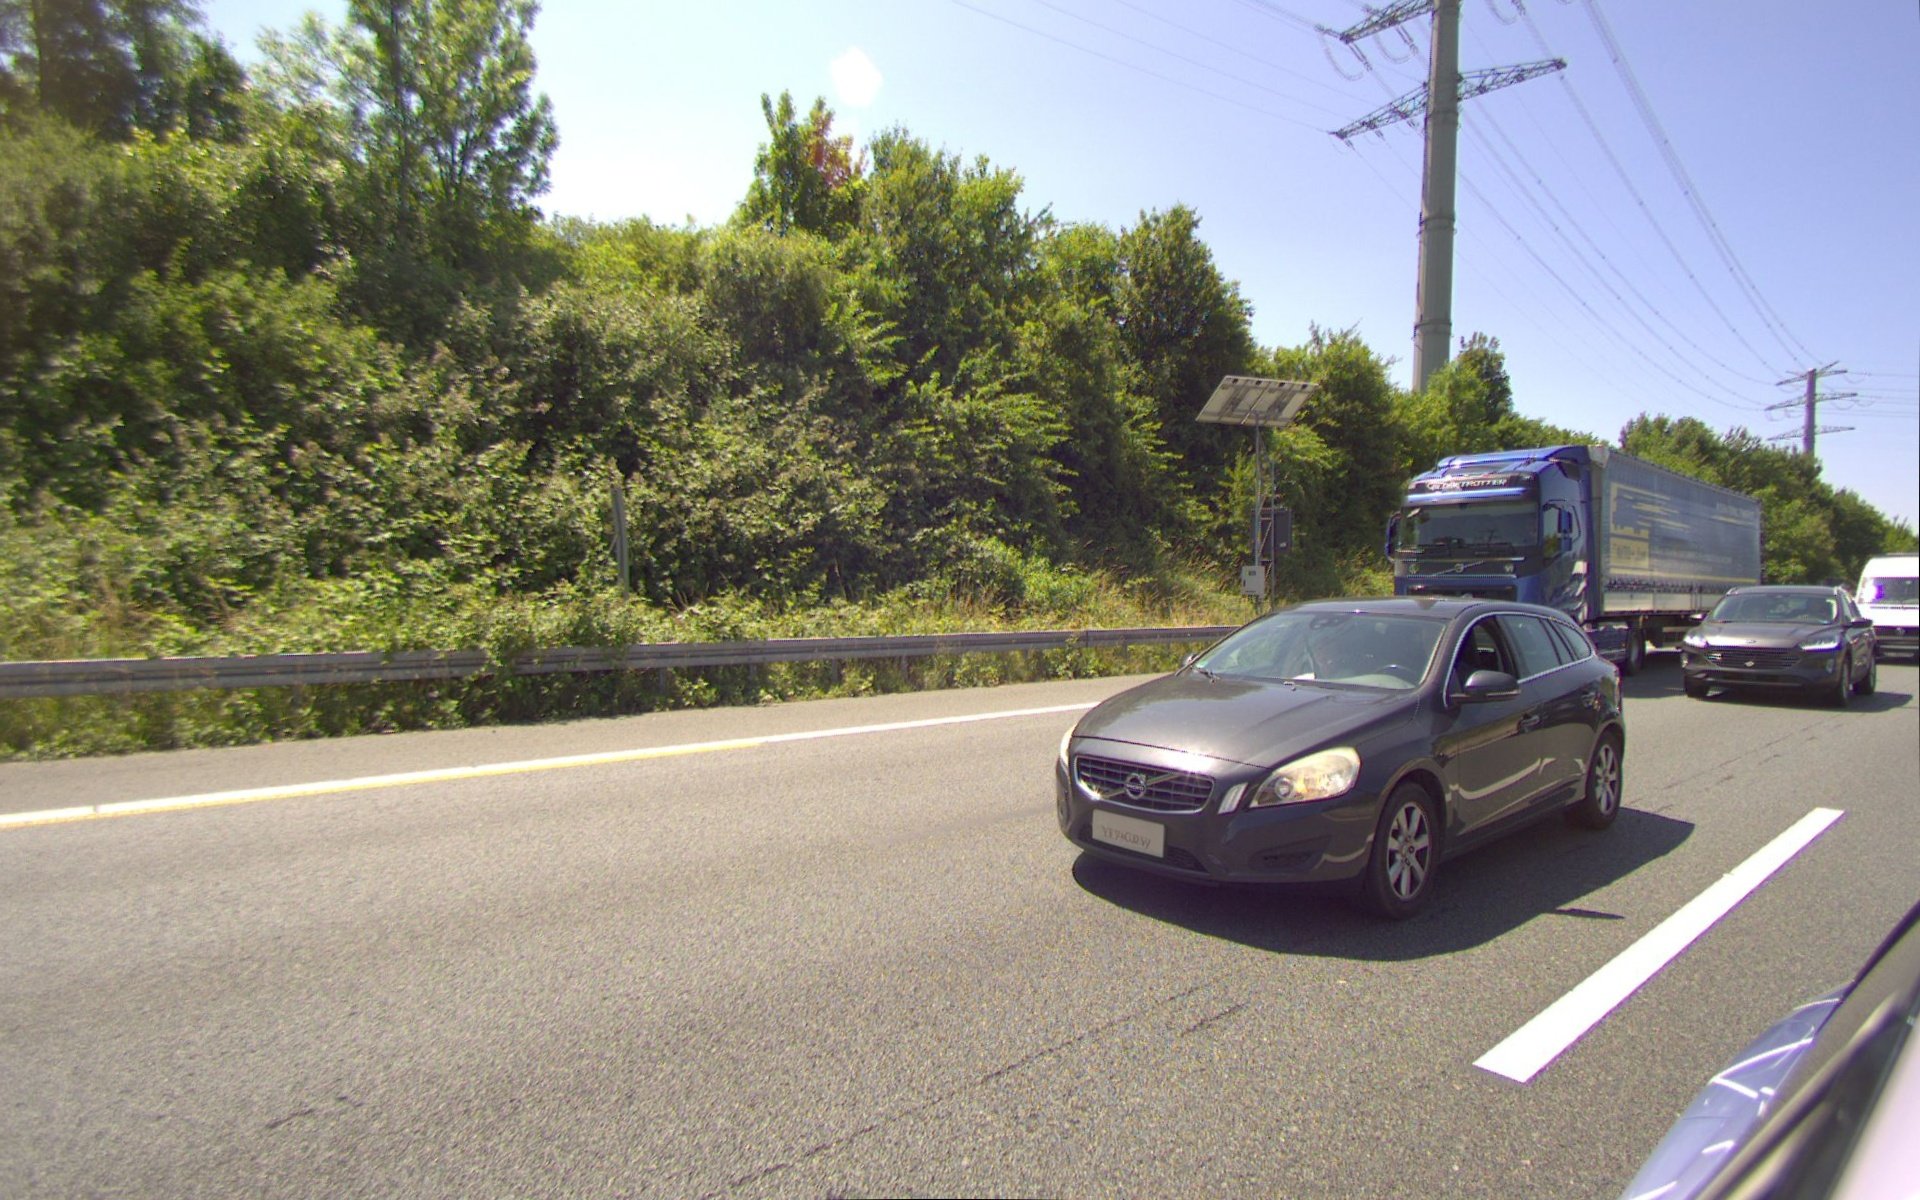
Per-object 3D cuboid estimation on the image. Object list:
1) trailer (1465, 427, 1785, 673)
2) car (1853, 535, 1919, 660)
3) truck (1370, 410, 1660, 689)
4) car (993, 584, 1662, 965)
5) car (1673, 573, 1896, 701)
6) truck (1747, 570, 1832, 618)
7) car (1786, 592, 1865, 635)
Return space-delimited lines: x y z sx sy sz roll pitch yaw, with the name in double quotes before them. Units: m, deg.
"trailer" 15.585 -0.946 22.984 12.654 4.317 2.771 -1 0 -41
"car" 23.442 -0.090 24.387 6.589 2.753 2.040 -1 0 -41
"truck" 10.041 -0.793 18.129 5.538 4.197 2.790 -1 0 -41
"car" 2.425 0.638 5.974 4.431 1.437 1.798 -1 0 -41
"car" 12.316 0.453 15.032 4.146 1.631 1.892 -1 0 -41
"truck" 40.428 -0.306 49.293 5.628 2.195 2.252 -1 0 -40
"car" 33.047 0.481 38.619 3.806 1.538 1.719 -1 0 -40
